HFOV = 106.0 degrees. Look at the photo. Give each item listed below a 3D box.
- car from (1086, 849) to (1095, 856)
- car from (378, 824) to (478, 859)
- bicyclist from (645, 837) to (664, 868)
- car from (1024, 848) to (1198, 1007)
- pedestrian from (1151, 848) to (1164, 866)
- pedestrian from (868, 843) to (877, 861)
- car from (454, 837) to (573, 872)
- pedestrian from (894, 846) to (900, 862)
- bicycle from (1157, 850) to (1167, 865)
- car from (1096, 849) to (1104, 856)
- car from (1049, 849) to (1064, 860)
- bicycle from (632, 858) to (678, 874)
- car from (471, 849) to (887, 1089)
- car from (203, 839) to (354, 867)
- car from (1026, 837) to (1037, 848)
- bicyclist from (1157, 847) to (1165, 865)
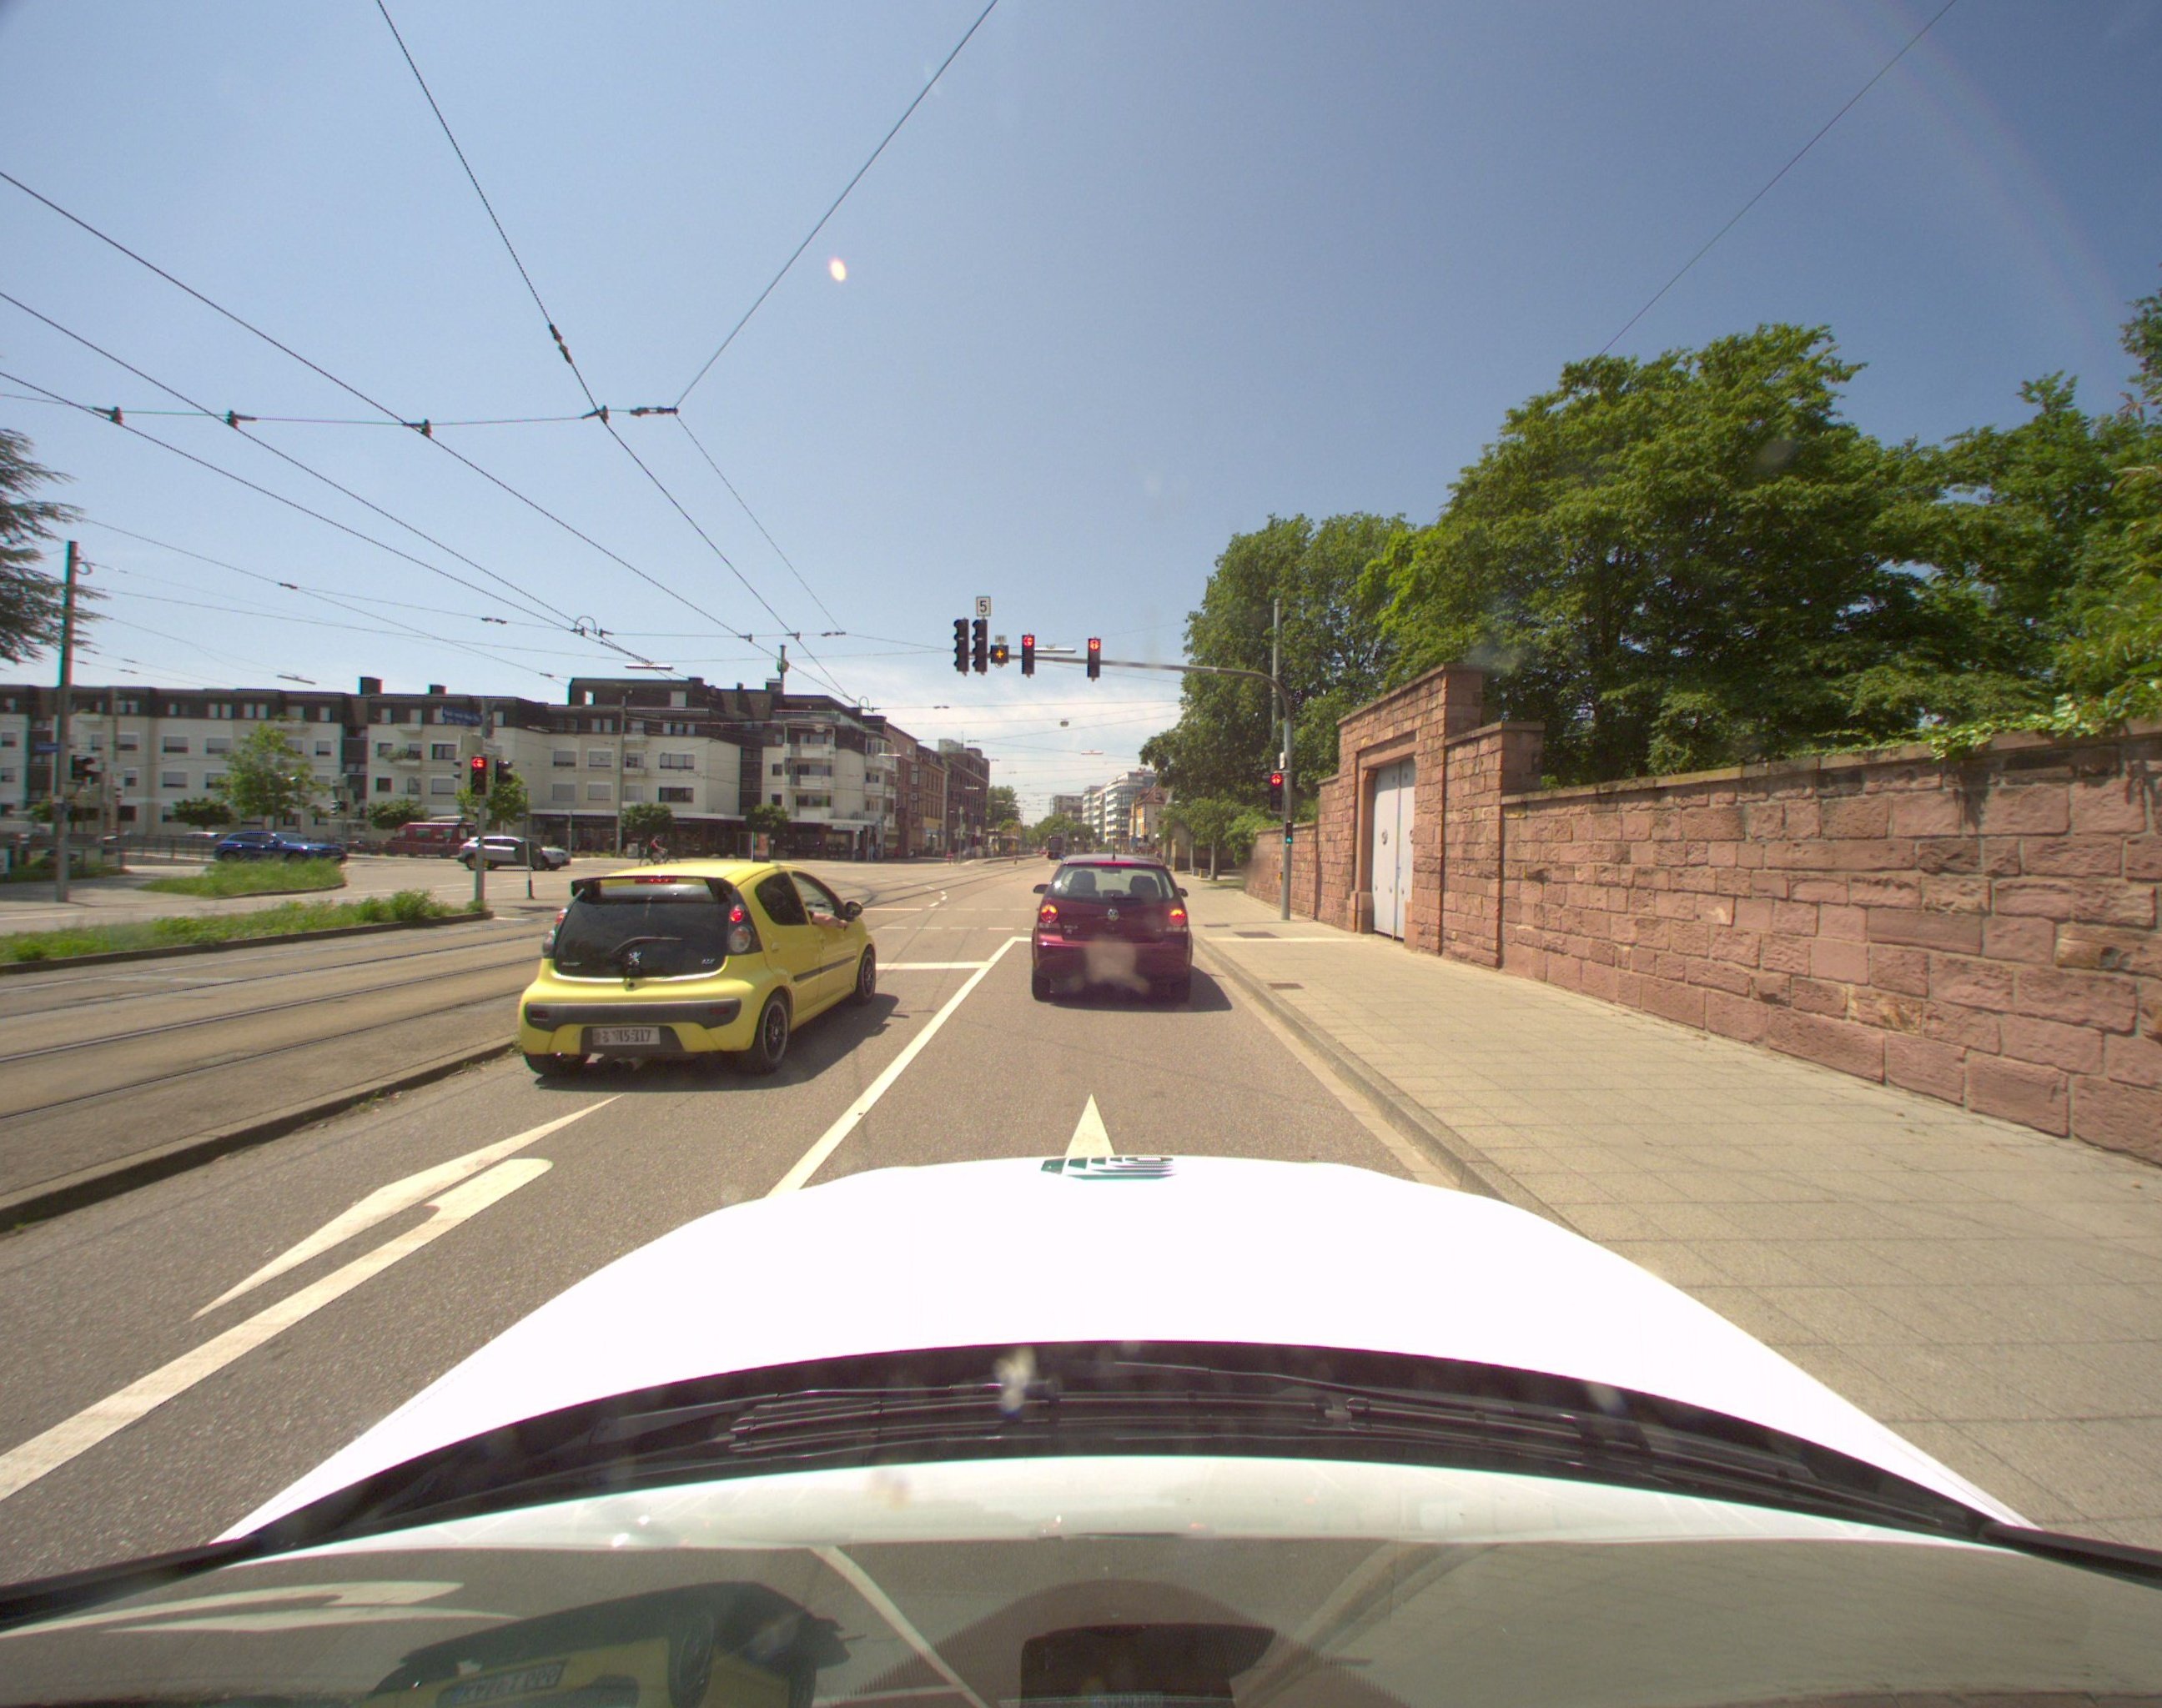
[{"bbox_3d":[2.129,-0.291,184.080,1.774,1.623,3.999,0,-1,0],"label":"car"},{"bbox_3d":[-45.375,-0.840,56.676,5.048,2.341,2.244,0,-1,0],"label":"car"},{"bbox_3d":[-21.019,-0.084,40.169,0.752,1.501,0.479,0,-1,-20],"label":"bicyclist"},{"bbox_3d":[0.319,0.683,9.698,1.604,1.463,4.086,1,0,1],"label":"car"},{"bbox_3d":[7.310,0.272,77.700,0.981,1.661,0.916,1,0,-9],"label":"pedestrian"},{"bbox_3d":[-19.456,-0.181,75.998,0.614,1.754,0.499,1,-1,-43],"label":"pedestrian"},{"bbox_3d":[-26.543,0.038,38.236,4.149,1.584,1.928,0,-1,-18],"label":"car"},{"bbox_3d":[-18.145,0.029,80.289,0.481,1.541,0.538,0,-1,3],"label":"pedestrian"},{"bbox_3d":[8.316,0.353,83.761,0.831,1.525,4.001,0,-1,2],"label":"bicycle"},{"bbox_3d":[3.731,-0.366,162.163,1.567,1.415,3.721,-1,0,1],"label":"car"},{"bbox_3d":[-3.564,0.095,118.720,1.931,1.641,4.001,0,-1,1],"label":"car"},{"bbox_3d":[-20.989,0.576,40.162,1.987,0.783,0.463,0,-1,-20],"label":"bicycle"},{"bbox_3d":[-2.893,0.707,6.716,1.717,1.445,3.293,-1,1,1],"label":"car"},{"bbox_3d":[-36.213,-0.026,36.847,4.757,1.237,1.938,0,-1,-2],"label":"car"},{"bbox_3d":[-9.446,-2.210,156.205,1.728,2.013,4.002,1,0,2],"label":"car"},{"bbox_3d":[8.257,0.209,83.742,0.719,1.818,0.889,0,-1,1],"label":"bicyclist"}]
